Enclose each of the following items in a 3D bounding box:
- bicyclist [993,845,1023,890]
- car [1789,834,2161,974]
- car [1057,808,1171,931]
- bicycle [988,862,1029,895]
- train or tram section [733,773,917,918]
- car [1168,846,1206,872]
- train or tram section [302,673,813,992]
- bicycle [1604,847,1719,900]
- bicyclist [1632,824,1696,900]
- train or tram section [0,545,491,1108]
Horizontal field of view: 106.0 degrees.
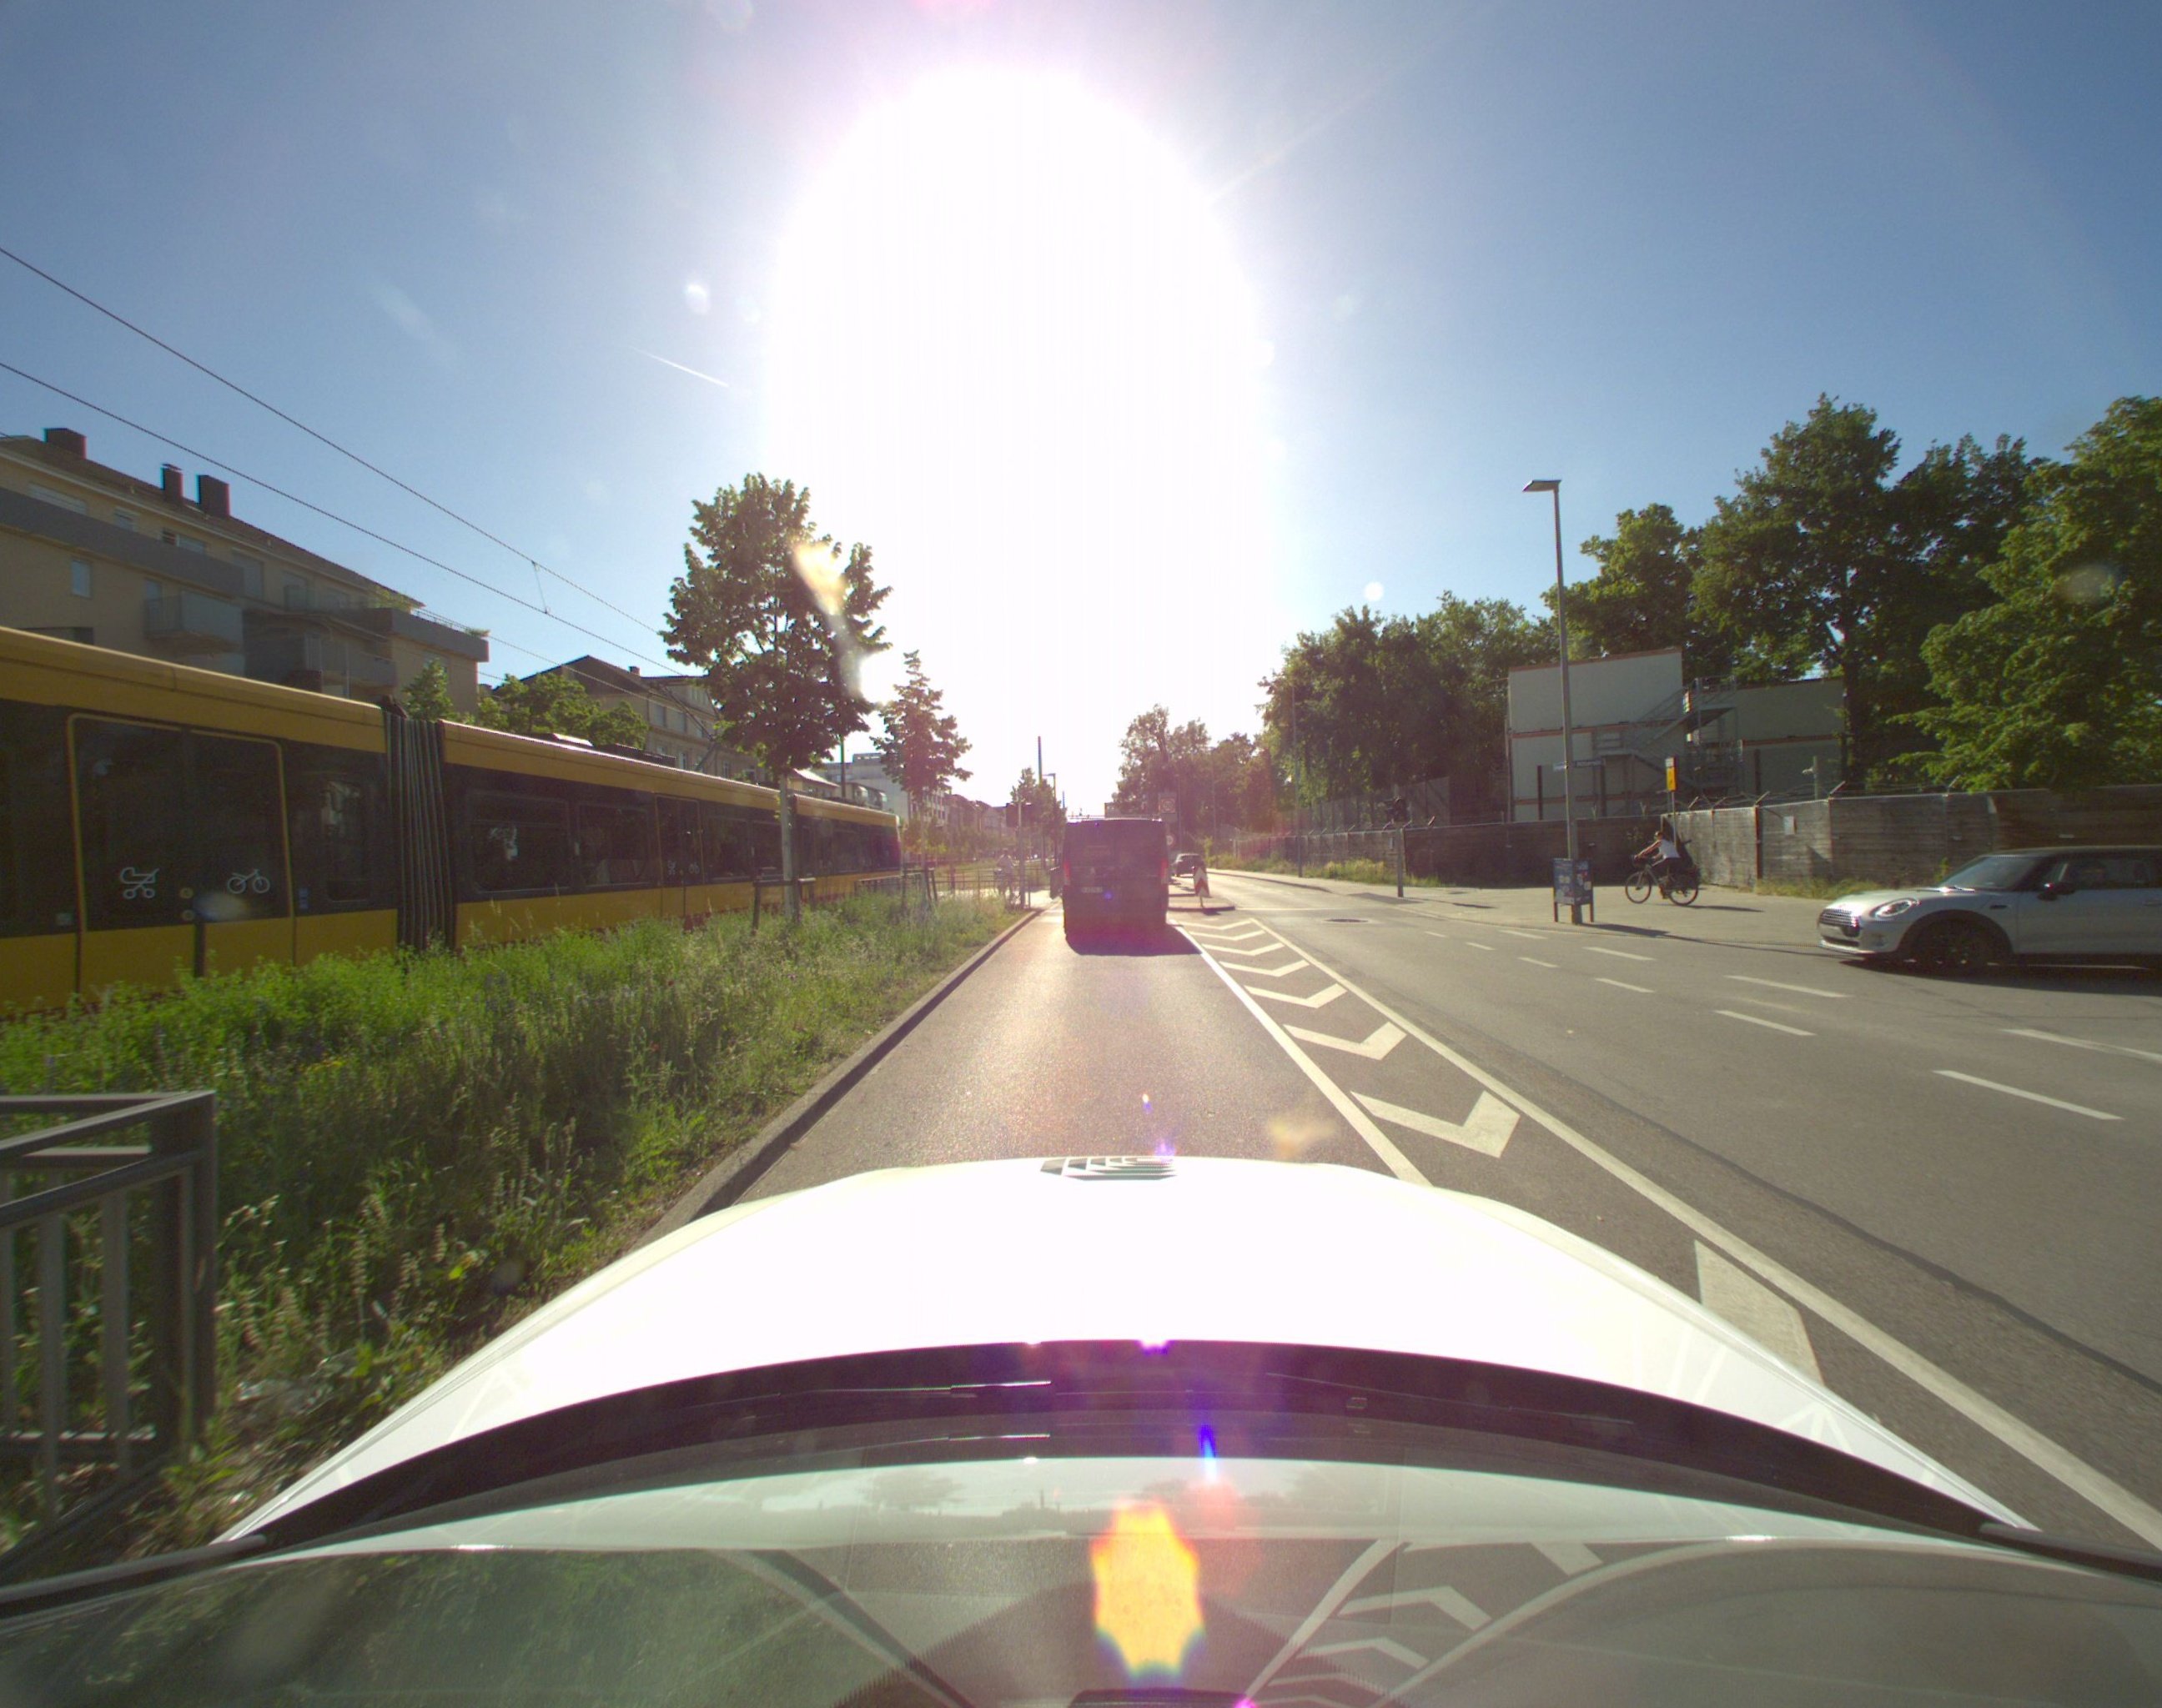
[{"bbox_3d":[-2.527,0.453,28.265,0.830,1.512,0.724,-1,0,-25],"label":"bicyclist"},{"bbox_3d":[10.887,0.522,9.421,3.668,1.436,1.782,-1,0,21],"label":"car"},{"bbox_3d":[0.641,0.280,17.101,2.075,2.249,4.000,-1,0,1],"label":"car"},{"bbox_3d":[-2.528,0.818,28.307,0.736,1.091,2.066,-1,0,-25],"label":"bicycle"},{"bbox_3d":[-7.712,-0.226,26.612,1.986,3.669,11.687,-1,0,1],"label":"train or tram section"},{"bbox_3d":[6.472,0.300,50.229,1.758,1.462,3.998,-1,0,-1],"label":"car"},{"bbox_3d":[-7.948,-0.251,15.126,1.986,3.669,11.317,-1,0,1],"label":"train or tram section"},{"bbox_3d":[13.234,0.453,18.652,0.604,1.112,2.109,-4,0,-20],"label":"bicycle"},{"bbox_3d":[13.253,0.178,18.532,0.744,1.673,0.846,-3,0,-20],"label":"bicyclist"},{"bbox_3d":[-8.059,-0.168,2.562,1.987,3.669,14.151,-1,0,0],"label":"train or tram section"}]
